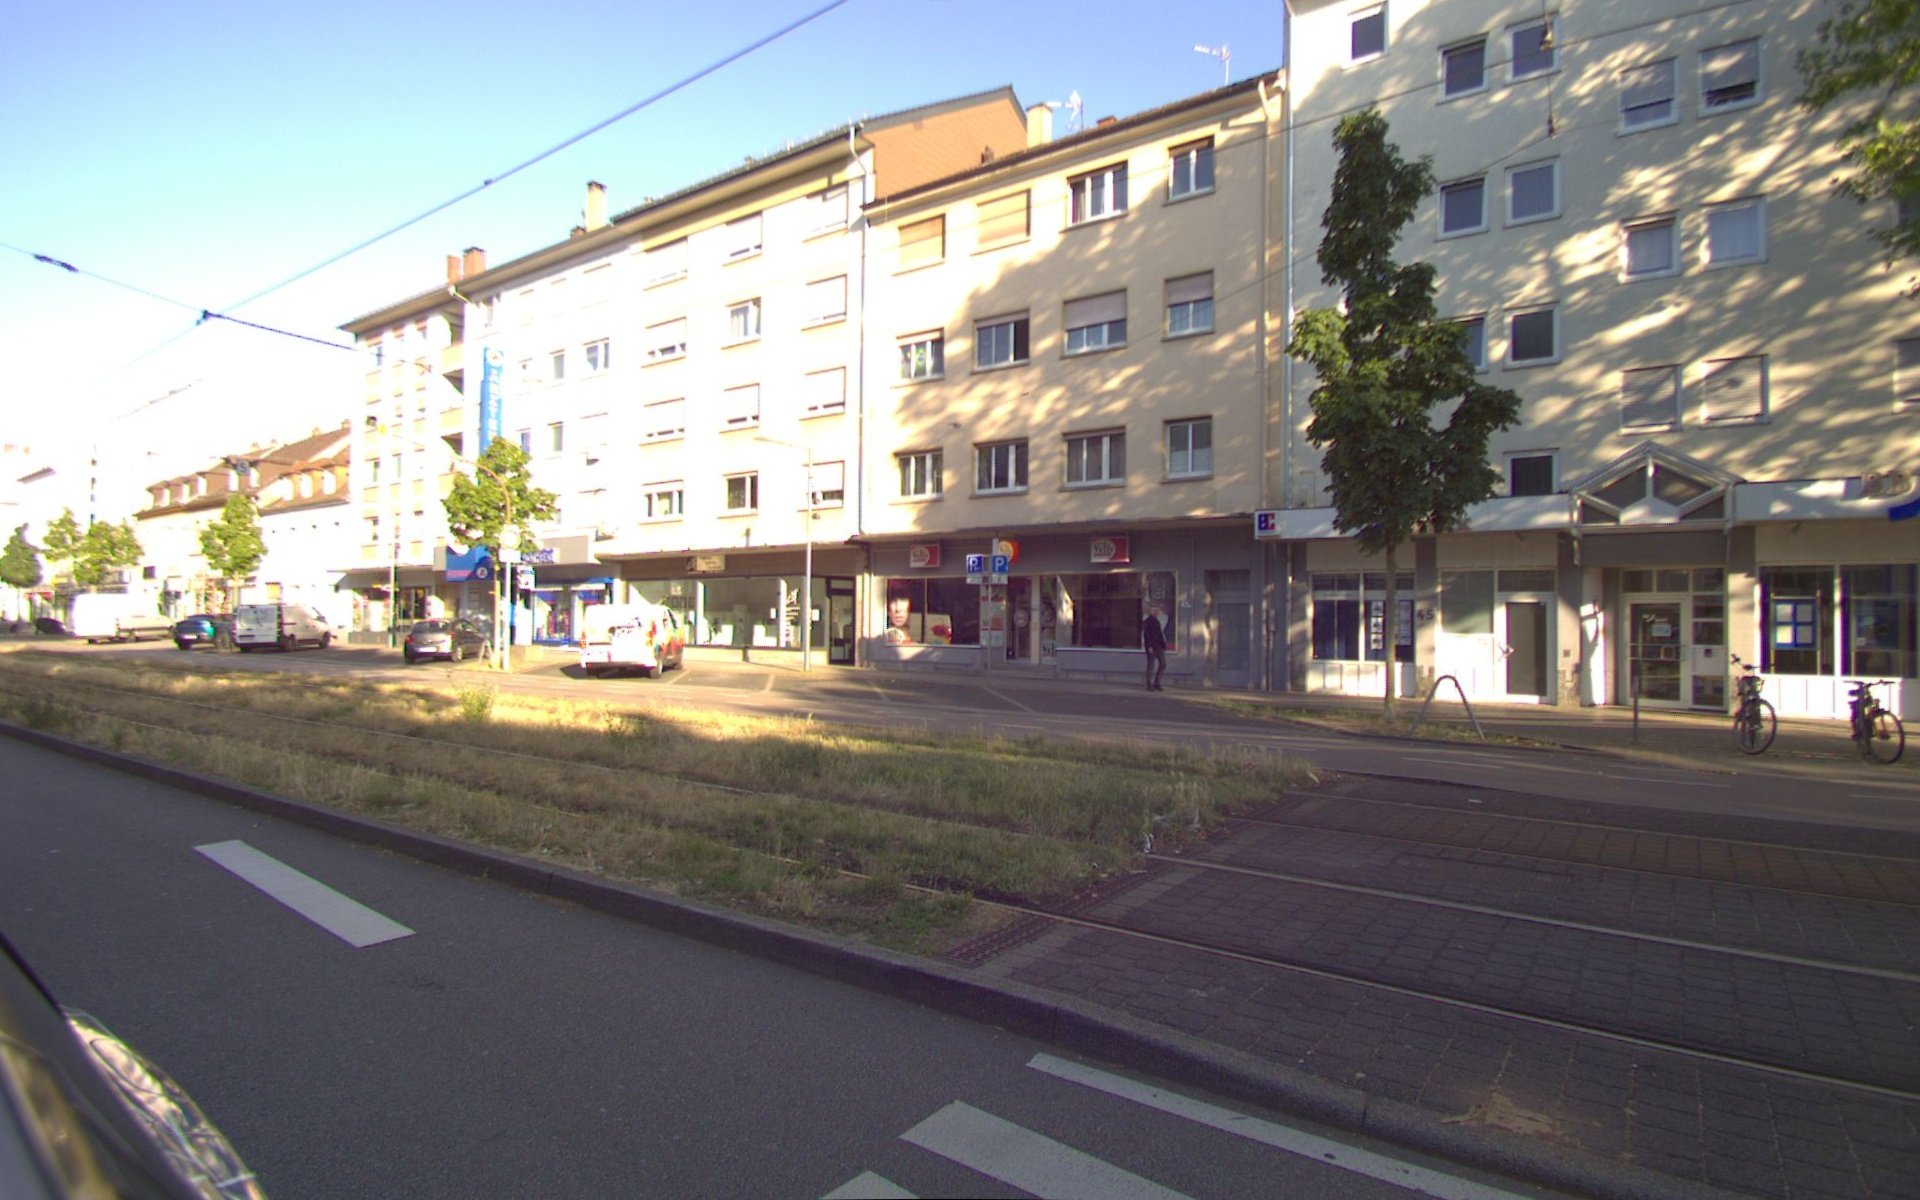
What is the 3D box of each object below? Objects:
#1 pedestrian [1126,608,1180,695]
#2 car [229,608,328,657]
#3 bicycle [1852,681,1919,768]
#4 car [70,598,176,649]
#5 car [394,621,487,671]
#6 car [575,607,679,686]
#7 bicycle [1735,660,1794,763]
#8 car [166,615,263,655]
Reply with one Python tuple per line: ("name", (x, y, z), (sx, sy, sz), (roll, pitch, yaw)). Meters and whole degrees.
("pedestrian", (4.202, 1.109, 22.030), (0.916, 1.841, 0.747), (-1, -1, 41))
("car", (-28.658, 1.308, 42.741), (1.828, 1.952, 4.514), (0, 0, -10))
("bicycle", (11.368, 1.490, 12.413), (0.471, 0.895, 1.724), (-1, -1, 36))
("car", (-45.399, 1.220, 55.101), (1.895, 2.634, 6.608), (0, 0, -16))
("car", (-17.523, 1.510, 34.306), (1.708, 1.508, 4.009), (0, 0, -10))
("car", (-8.814, 1.153, 27.120), (1.830, 1.913, 4.005), (0, 0, -6))
("bicycle", (10.295, 1.388, 12.982), (0.511, 1.147, 1.724), (-1, -1, 36))
("car", (-34.177, 1.561, 46.527), (1.830, 1.727, 3.919), (0, 0, -4))
